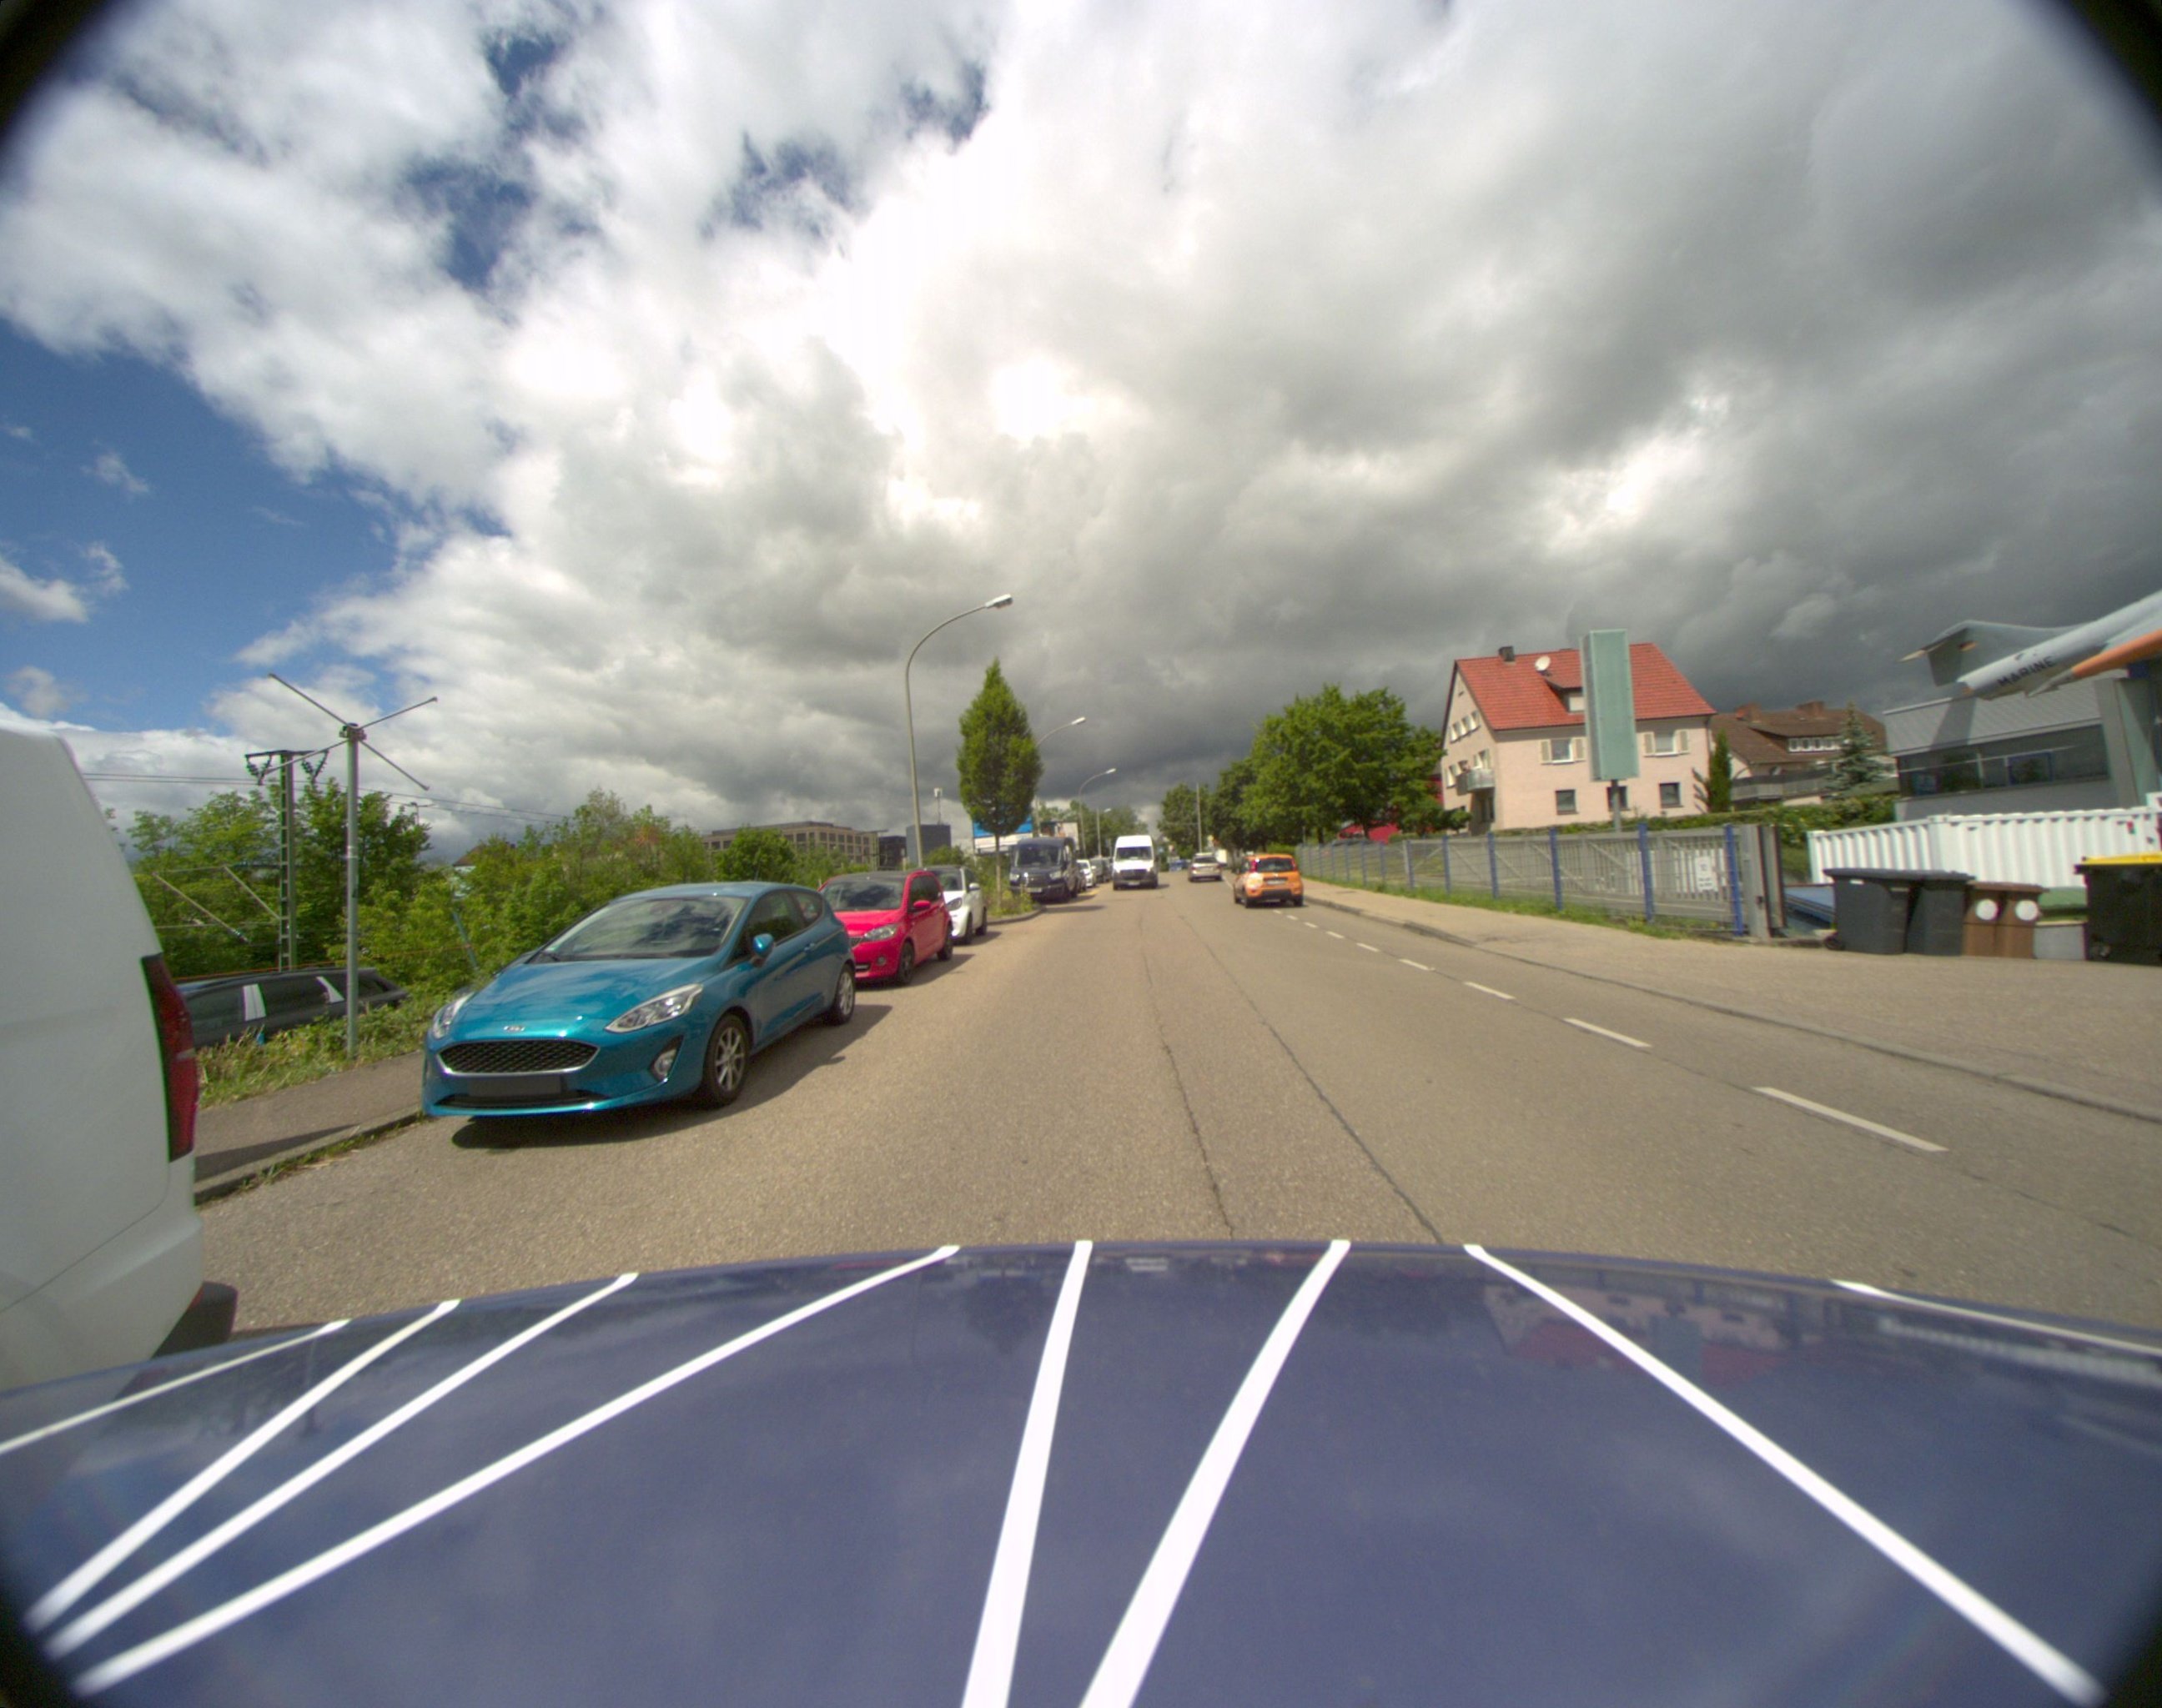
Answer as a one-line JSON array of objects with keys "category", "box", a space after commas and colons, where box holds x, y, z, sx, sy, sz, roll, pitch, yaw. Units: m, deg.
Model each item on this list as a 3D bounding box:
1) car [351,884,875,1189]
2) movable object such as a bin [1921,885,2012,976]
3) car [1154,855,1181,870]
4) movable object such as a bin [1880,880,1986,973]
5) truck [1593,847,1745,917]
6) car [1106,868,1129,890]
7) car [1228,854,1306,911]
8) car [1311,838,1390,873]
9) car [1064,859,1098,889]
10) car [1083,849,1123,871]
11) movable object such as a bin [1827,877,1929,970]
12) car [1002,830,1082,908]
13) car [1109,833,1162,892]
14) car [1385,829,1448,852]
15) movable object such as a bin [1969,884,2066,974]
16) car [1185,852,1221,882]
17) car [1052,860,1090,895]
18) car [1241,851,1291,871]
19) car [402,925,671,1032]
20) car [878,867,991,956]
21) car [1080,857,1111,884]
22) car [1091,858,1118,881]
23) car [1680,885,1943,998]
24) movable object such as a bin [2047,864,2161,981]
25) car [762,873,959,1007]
[{"category": "car", "box": [-3.079, 1.073, 6.104, 1.597, 1.442, 3.979, -3, 0, 2]}, {"category": "movable object such as a bin", "box": [10.868, 0.928, 9.339, 0.503, 1.054, 0.498, 1, 1, 2]}, {"category": "car", "box": [12.360, 1.157, 108.273, 1.957, 1.957, 5.139, -2, 0, 27]}, {"category": "movable object such as a bin", "box": [10.311, 0.864, 9.211, 0.664, 1.074, 0.517, 1, 1, 2]}, {"category": "truck", "box": [25.755, 1.108, 33.735, 2.321, 2.716, 6.597, -2, 0, 8]}, {"category": "car", "box": [2.839, 1.890, 59.100, 1.585, 1.497, 3.957, -3, 0, 1]}, {"category": "car", "box": [5.507, 0.804, 22.863, 1.604, 1.482, 3.682, -3, 0, 4]}, {"category": "car", "box": [15.439, 0.085, 43.657, 3.954, 1.766, 1.523, -3, 0, 2]}, {"category": "car", "box": [0.030, 1.012, 39.563, 1.401, 1.424, 3.446, -3, 0, 6]}, {"category": "car", "box": [2.914, 0.771, 100.613, 5.140, 2.576, 1.957, -3, 1, -36]}, {"category": "movable object such as a bin", "box": [9.704, 0.830, 9.266, 0.664, 1.074, 0.517, 1, 1, 2]}, {"category": "car", "box": [-1.335, 0.499, 28.820, 2.059, 2.579, 5.737, -3, 0, 6]}, {"category": "car", "box": [2.795, 0.349, 37.425, 2.081, 2.576, 6.066, -2, 0, 8]}, {"category": "car", "box": [24.974, -1.006, 56.644, 4.015, 1.497, 1.587, -3, 0, 8]}, {"category": "movable object such as a bin", "box": [11.376, 0.898, 9.242, 0.516, 1.039, 0.517, 1, 1, 2]}, {"category": "car", "box": [6.794, 0.702, 42.624, 1.646, 1.523, 4.223, -3, 0, 4]}, {"category": "car", "box": [-0.411, 1.060, 35.189, 1.333, 1.446, 3.368, -3, 0, 6]}, {"category": "car", "box": [15.474, 0.565, 63.731, 3.854, 1.497, 1.587, -3, 0, 8]}, {"category": "car", "box": [-10.531, 2.339, 15.244, 1.820, 1.343, 4.557, -2, 0, 5]}, {"category": "car", "box": [-2.849, 1.081, 15.335, 1.597, 1.514, 2.858, -3, 0, 1]}, {"category": "car", "box": [0.941, 0.993, 47.059, 1.521, 1.446, 3.959, -3, 0, 6]}, {"category": "car", "box": [1.705, 1.065, 53.261, 1.584, 1.497, 3.959, -3, 0, 6]}, {"category": "car", "box": [12.055, 1.359, 12.855, 1.434, 1.451, 3.363, -2, 0, 6]}, {"category": "movable object such as a bin", "box": [12.839, 0.792, 8.980, 1.223, 1.299, 1.232, 1, 0, 1]}, {"category": "car", "box": [-2.957, 1.086, 10.953, 1.596, 1.473, 3.501, -3, 0, 3]}]
